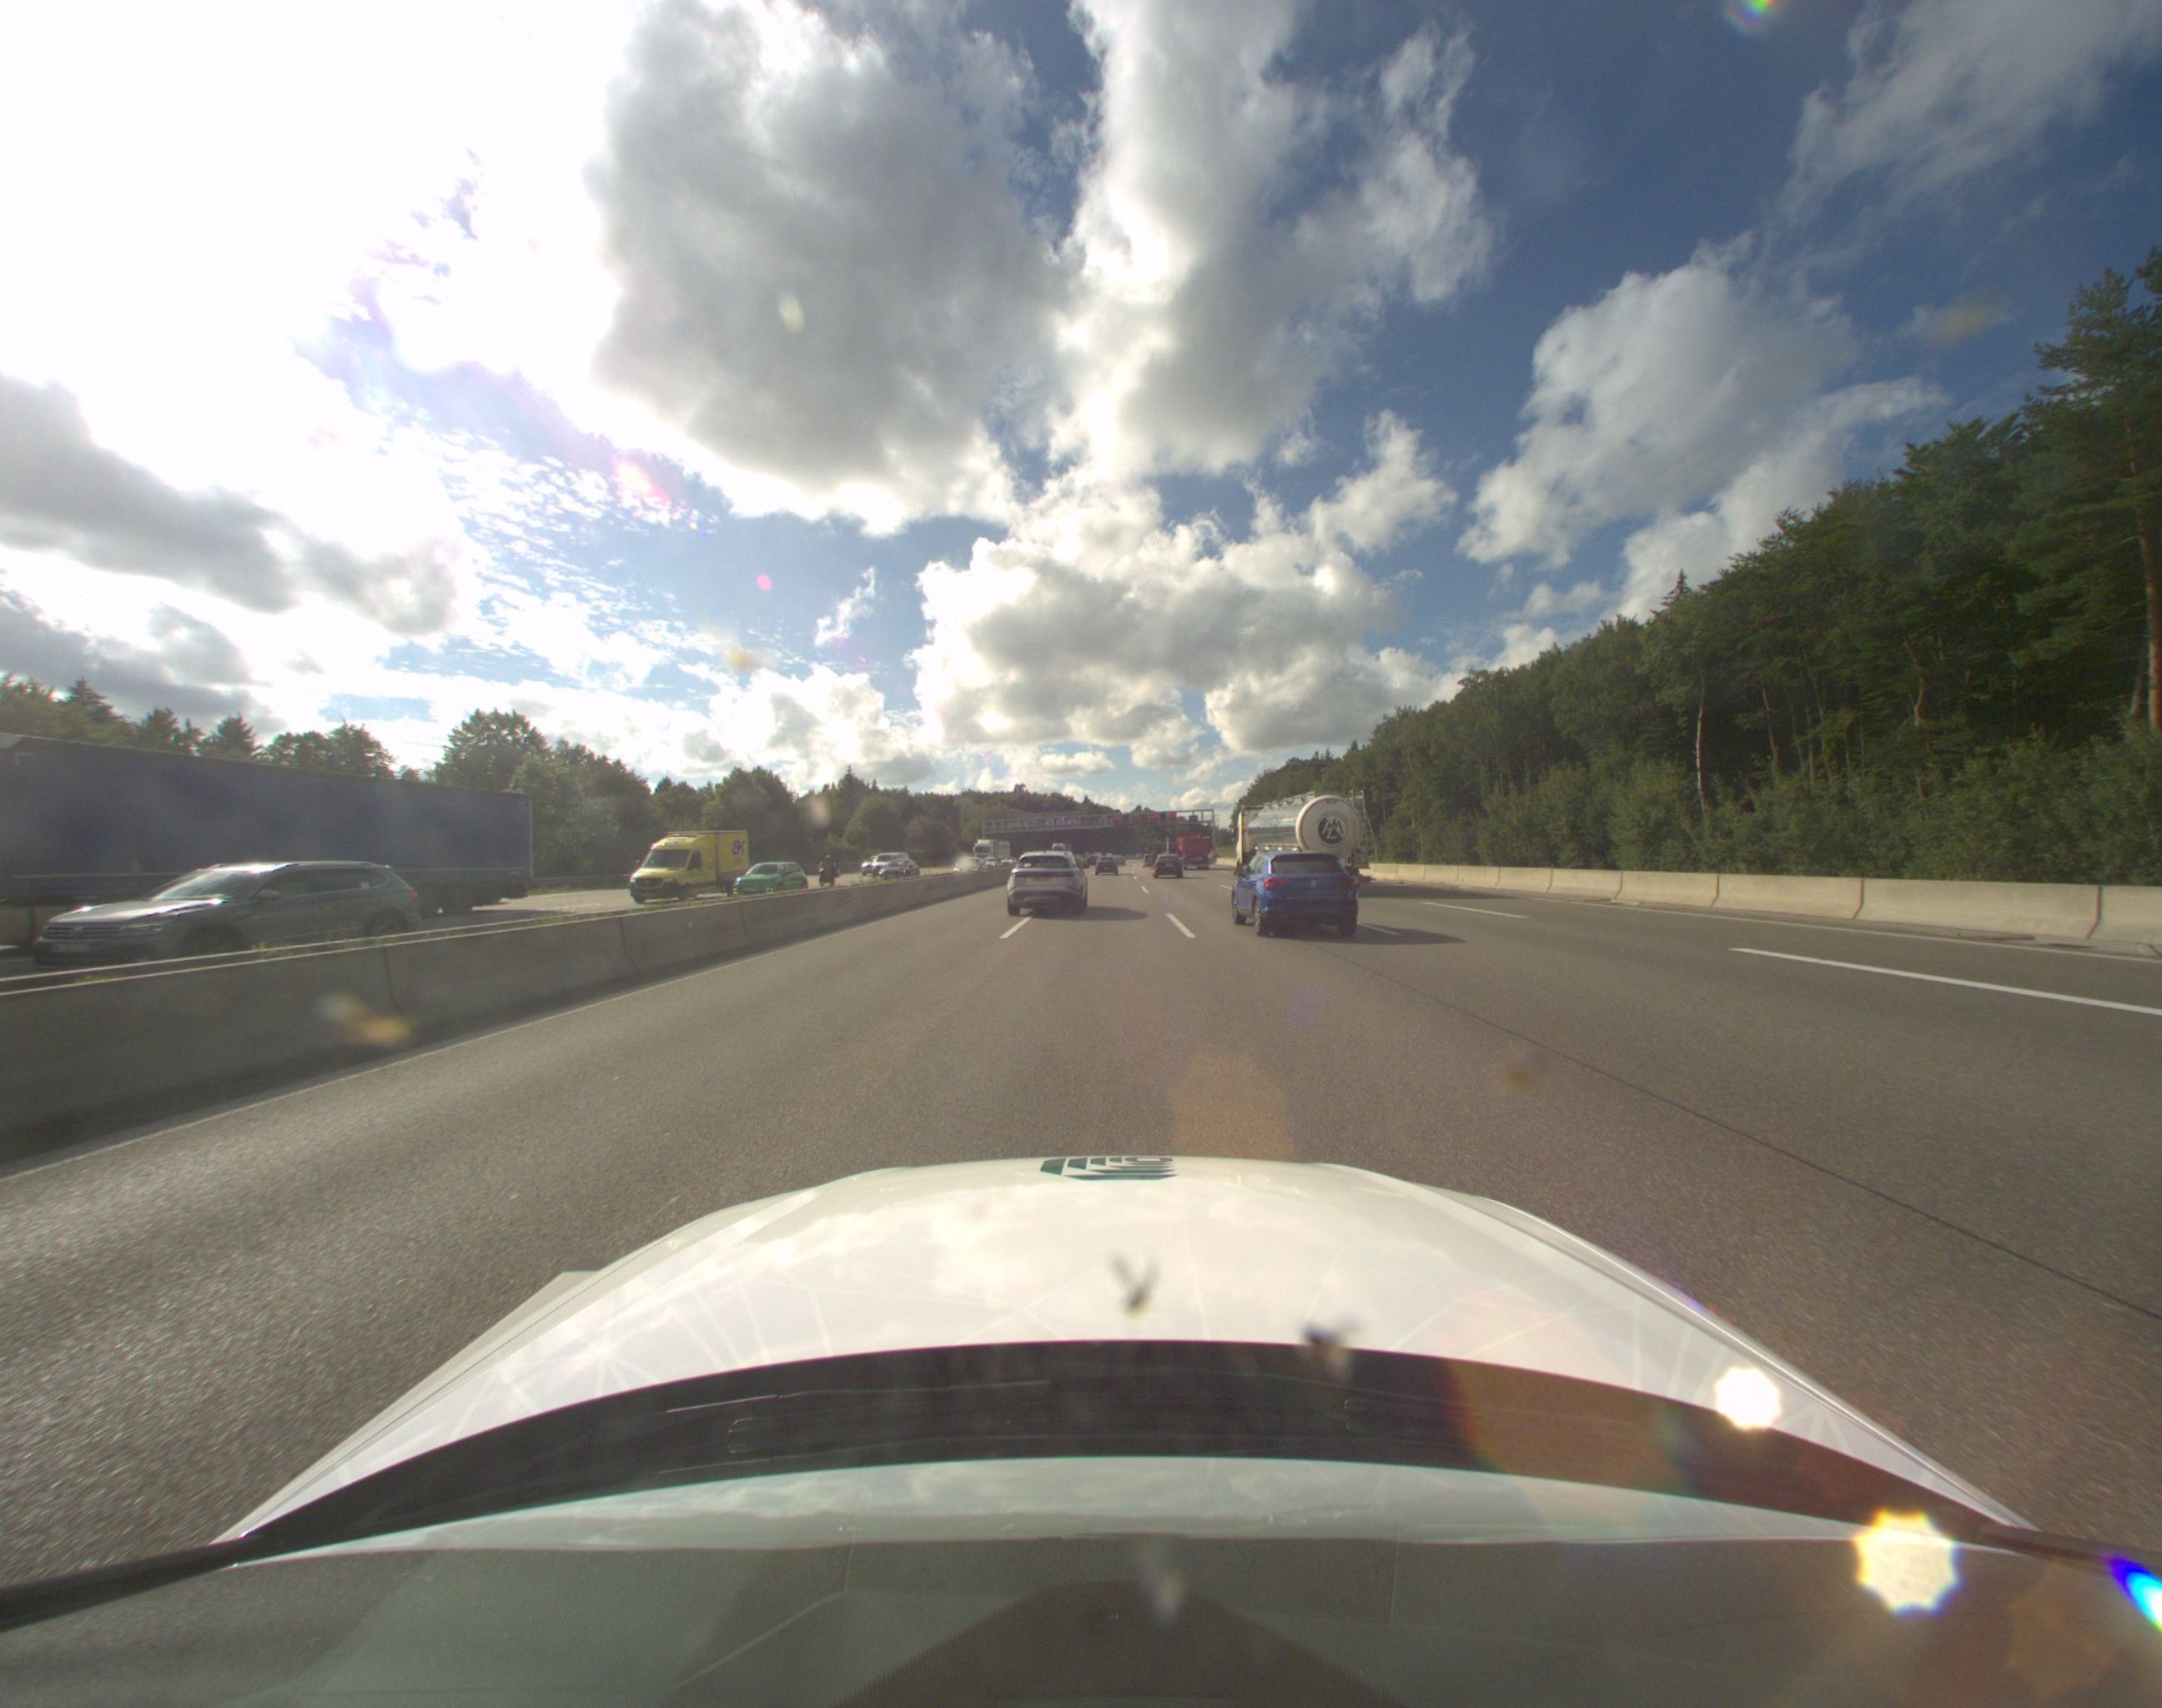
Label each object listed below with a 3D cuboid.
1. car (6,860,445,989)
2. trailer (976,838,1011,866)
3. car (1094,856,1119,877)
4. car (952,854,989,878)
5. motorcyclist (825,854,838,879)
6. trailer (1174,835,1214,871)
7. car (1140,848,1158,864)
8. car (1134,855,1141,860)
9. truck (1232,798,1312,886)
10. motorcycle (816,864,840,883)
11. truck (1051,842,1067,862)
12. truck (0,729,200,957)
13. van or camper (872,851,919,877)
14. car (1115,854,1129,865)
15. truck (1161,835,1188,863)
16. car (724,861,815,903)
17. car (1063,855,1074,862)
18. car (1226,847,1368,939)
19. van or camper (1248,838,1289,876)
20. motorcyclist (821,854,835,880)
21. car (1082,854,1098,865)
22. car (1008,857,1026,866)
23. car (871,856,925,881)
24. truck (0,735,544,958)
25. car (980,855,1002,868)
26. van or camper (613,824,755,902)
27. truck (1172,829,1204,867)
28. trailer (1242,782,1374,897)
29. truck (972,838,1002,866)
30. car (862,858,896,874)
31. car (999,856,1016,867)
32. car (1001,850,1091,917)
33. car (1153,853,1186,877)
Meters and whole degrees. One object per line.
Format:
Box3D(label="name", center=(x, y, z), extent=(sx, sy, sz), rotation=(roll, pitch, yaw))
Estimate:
Box3D(label="car", center=(-13.240, 0.949, 13.238), extent=(1.837, 1.596, 4.914), rotation=(-2, 0, 1))
Box3D(label="trailer", center=(-13.684, -0.296, 128.977), extent=(3.304, 4.106, 14.164), rotation=(-1, 0, 3))
Box3D(label="car", center=(1.964, 0.962, 63.109), extent=(1.815, 1.546, 4.002), rotation=(-1, 0, 2))
Box3D(label="car", center=(-7.764, 0.805, 57.580), extent=(1.856, 1.552, 4.663), rotation=(-1, 0, 2))
Box3D(label="motorcyclist", center=(-14.948, 0.772, 48.845), extent=(0.600, 1.476, 0.532), rotation=(-1, -1, 3))
Box3D(label="trailer", center=(10.850, -0.148, 79.151), extent=(2.700, 3.231, 9.734), rotation=(-1, 0, 1))
Box3D(label="car", center=(8.082, 0.179, 97.007), extent=(1.886, 1.857, 4.102), rotation=(0, 0, 2))
Box3D(label="car", center=(16.323, 0.948, 235.136), extent=(2.066, 1.457, 4.007), rotation=(-3, 0, 6))
Box3D(label="truck", center=(9.099, -0.540, 39.428), extent=(2.637, 3.823, 6.087), rotation=(-2, 0, 3))
Box3D(label="motorcycle", center=(-14.981, 1.135, 48.199), extent=(0.607, 1.040, 2.177), rotation=(-1, 0, 4))
Box3D(label="truck", center=(-4.934, -0.438, 180.503), extent=(2.725, 4.106, 5.775), rotation=(-1, 0, 6))
Box3D(label="truck", center=(-20.778, -0.178, 14.789), extent=(2.809, 4.094, 6.063), rotation=(-1, 0, 1))
Box3D(label="van or camper", center=(-14.309, 0.752, 63.209), extent=(1.984, 1.937, 5.465), rotation=(-1, 0, 5))
Box3D(label="car", center=(5.596, 0.784, 111.556), extent=(1.815, 1.457, 4.002), rotation=(-1, -1, 2))
Box3D(label="truck", center=(13.577, -0.717, 119.482), extent=(3.106, 3.935, 10.416), rotation=(-1, 0, 2))
Box3D(label="car", center=(-12.421, 1.083, 32.782), extent=(1.776, 1.470, 4.333), rotation=(-2, 0, 2))
Box3D(label="car", center=(-2.629, 0.916, 169.744), extent=(1.803, 1.302, 4.050), rotation=(-1, 0, 4))
Box3D(label="car", center=(4.067, 0.669, 16.102), extent=(1.766, 1.530, 4.460), rotation=(-1, 0, 2))
Box3D(label="van or camper", center=(12.040, 0.180, 52.548), extent=(1.814, 2.307, 4.943), rotation=(-1, 0, 4))
Box3D(label="motorcyclist", center=(-14.993, 0.767, 48.236), extent=(0.600, 1.476, 0.532), rotation=(-1, -1, 3))
Box3D(label="car", center=(1.211, 0.718, 111.090), extent=(1.934, 1.457, 4.003), rotation=(-2, 0, 3))
Box3D(label="car", center=(-8.881, 1.058, 113.387), extent=(1.803, 1.161, 4.520), rotation=(-1, 0, 4))
Box3D(label="car", center=(-11.814, 0.910, 52.906), extent=(2.162, 1.470, 4.790), rotation=(-1, 0, 3))
Box3D(label="truck", center=(-20.614, -0.114, 21.916), extent=(2.809, 4.094, 13.849), rotation=(-1, 0, 1))
Box3D(label="car", center=(-9.850, 0.784, 89.063), extent=(1.763, 1.394, 4.692), rotation=(-1, 0, 1))
Box3D(label="van or camper", center=(-16.202, 0.340, 33.818), extent=(2.364, 2.891, 6.512), rotation=(-1, 0, 3))
Box3D(label="truck", center=(10.971, -0.632, 84.111), extent=(2.700, 3.718, 5.819), rotation=(-1, 0, 1))
Box3D(label="trailer", center=(8.756, -0.494, 33.132), extent=(2.637, 3.767, 11.871), rotation=(-2, 0, 3))
Box3D(label="truck", center=(-14.056, -0.294, 122.136), extent=(3.304, 4.106, 6.230), rotation=(-1, 0, 3))
Box3D(label="car", center=(-18.058, 1.036, 72.890), extent=(1.816, 1.394, 4.280), rotation=(-1, 0, 1))
Box3D(label="car", center=(-10.720, 1.111, 118.887), extent=(1.803, 1.453, 4.806), rotation=(-1, 0, 4))
Box3D(label="car", center=(-0.816, 0.721, 22.571), extent=(1.998, 1.616, 5.305), rotation=(-1, 0, 3))
Box3D(label="car", center=(5.618, 0.670, 52.195), extent=(1.815, 1.457, 4.002), rotation=(-1, 0, 2))
